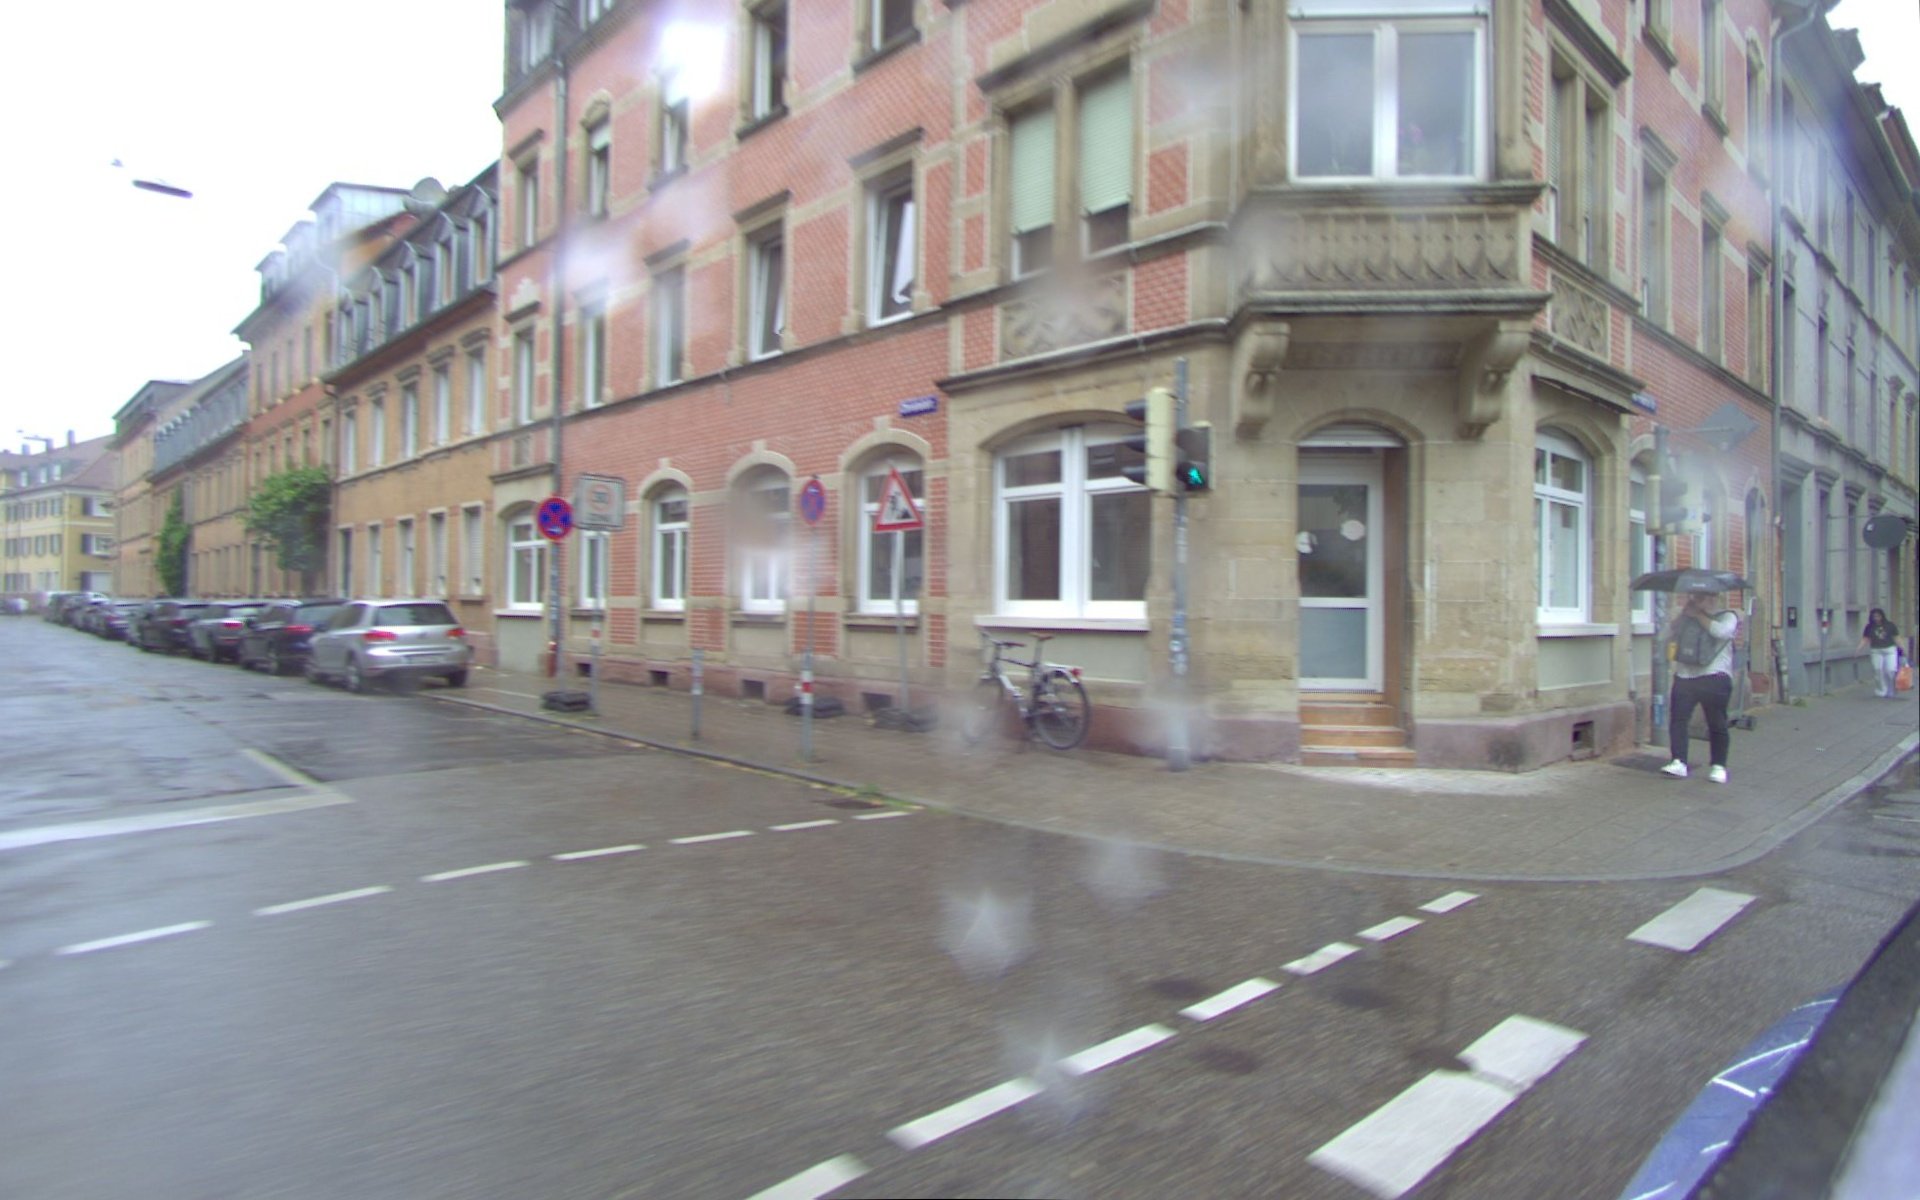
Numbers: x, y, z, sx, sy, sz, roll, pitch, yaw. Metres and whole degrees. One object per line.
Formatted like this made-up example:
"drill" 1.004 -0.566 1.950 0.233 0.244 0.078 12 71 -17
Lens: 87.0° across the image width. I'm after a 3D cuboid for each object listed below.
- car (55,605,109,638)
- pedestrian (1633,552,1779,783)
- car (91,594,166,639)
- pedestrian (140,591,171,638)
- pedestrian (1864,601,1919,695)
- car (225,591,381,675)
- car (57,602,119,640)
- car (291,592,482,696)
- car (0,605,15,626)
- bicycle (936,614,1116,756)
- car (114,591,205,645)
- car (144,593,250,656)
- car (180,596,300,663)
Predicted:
"car" -46.369 1.107 53.428 3.727 1.553 1.766 0 3 44
"pedestrian" 6.745 0.563 9.158 0.913 1.937 0.786 1 3 -41
"car" -31.453 0.589 38.249 3.727 1.553 1.766 0 3 44
"pedestrian" -35.861 0.621 45.116 0.975 2.039 1.103 0 0 -44
"pedestrian" 17.058 0.857 18.322 0.566 1.592 0.849 1 4 -40
"car" -13.752 0.600 21.081 4.409 1.509 1.766 0 3 44
"car" -39.910 0.906 46.291 3.727 1.553 1.766 0 3 44
"car" -9.938 0.657 17.418 4.001 1.509 1.766 0 3 44
"car" -72.549 1.177 76.247 3.727 1.553 1.766 0 3 44
"bicycle" 0.603 0.762 9.719 1.685 1.237 0.668 -1 -2 44
"car" -25.584 0.520 32.307 3.727 1.553 1.766 0 3 44
"car" -21.029 0.607 27.847 3.465 1.553 1.766 0 3 44
"car" -17.783 0.665 24.951 3.465 1.452 1.766 0 3 44
